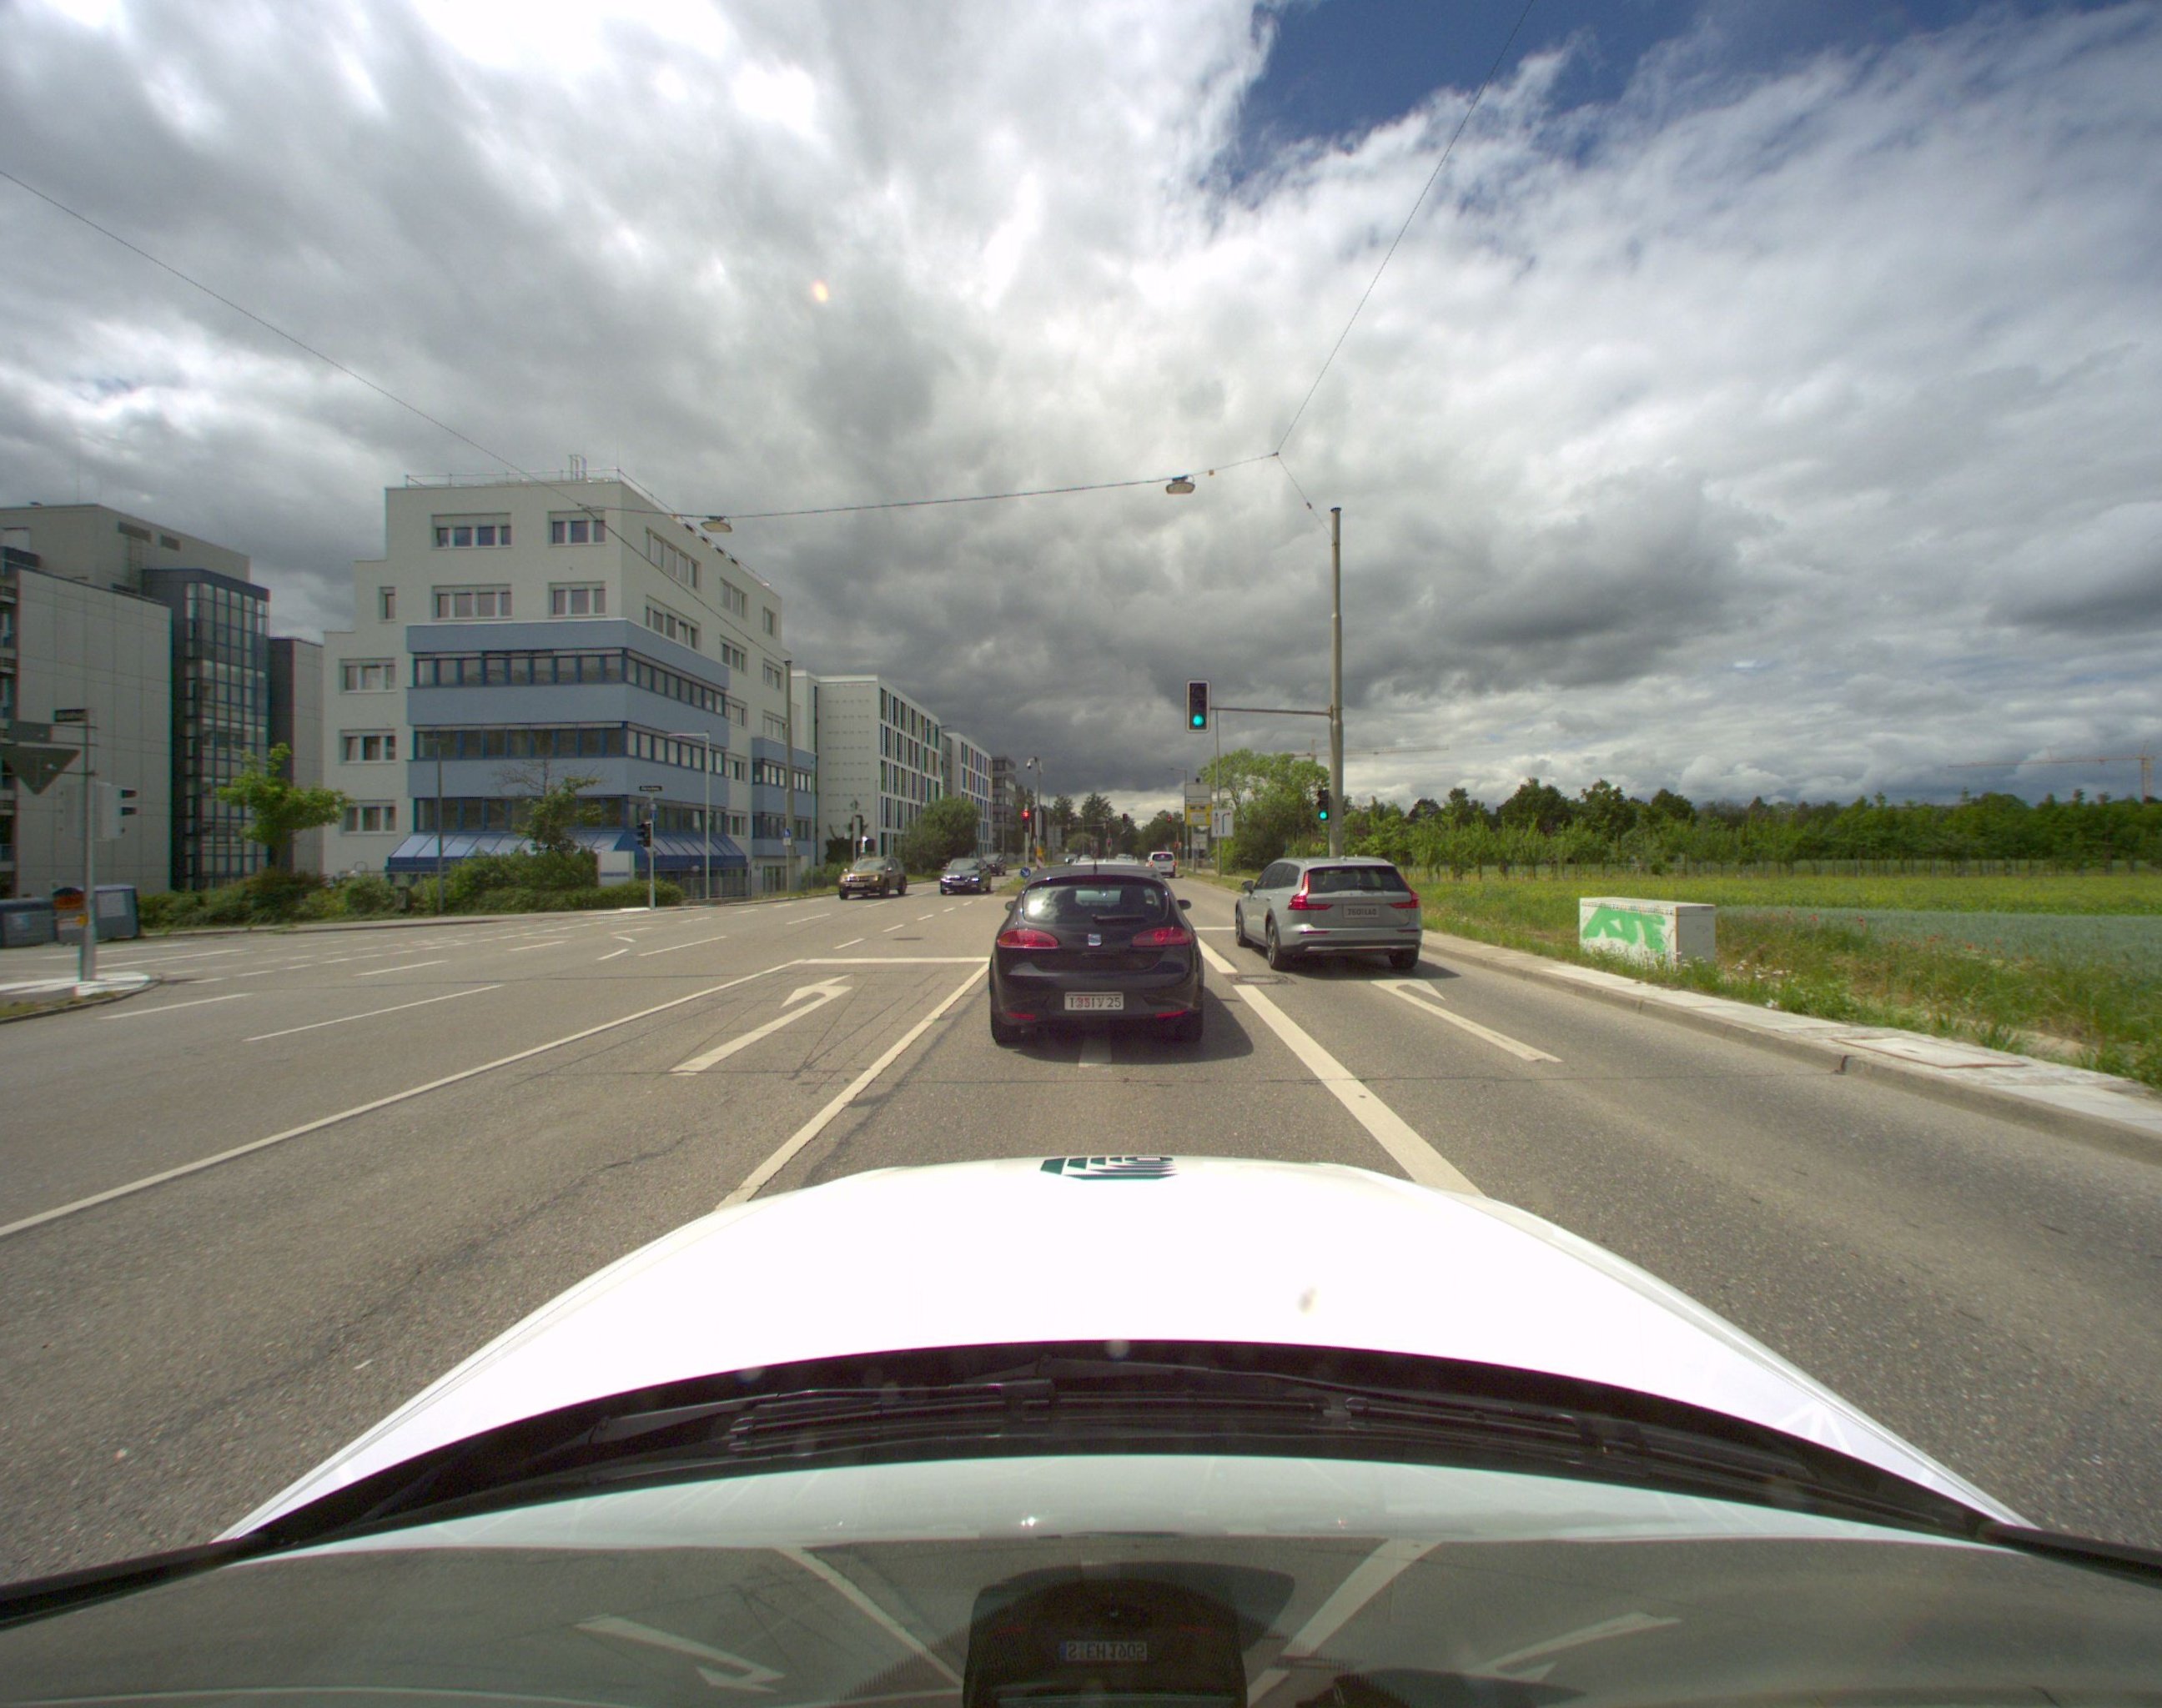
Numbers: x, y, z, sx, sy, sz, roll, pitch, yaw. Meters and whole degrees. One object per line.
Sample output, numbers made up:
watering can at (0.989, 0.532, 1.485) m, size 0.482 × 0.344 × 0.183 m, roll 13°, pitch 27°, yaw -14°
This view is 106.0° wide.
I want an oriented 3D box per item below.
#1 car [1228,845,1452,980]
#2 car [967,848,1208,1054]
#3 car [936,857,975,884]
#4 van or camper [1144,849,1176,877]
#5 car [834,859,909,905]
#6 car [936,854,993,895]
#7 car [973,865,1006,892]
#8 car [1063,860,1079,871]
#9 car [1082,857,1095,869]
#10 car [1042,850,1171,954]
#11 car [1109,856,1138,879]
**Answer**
car at (3.472, 0.723, 11.874) m, size 1.951 × 1.525 × 4.341 m, roll -2°, pitch -1°, yaw 2°
car at (0.221, 0.737, 7.963) m, size 1.739 × 1.484 × 4.006 m, roll -1°, pitch -1°, yaw 5°
car at (-8.045, 1.043, 52.642) m, size 1.769 × 1.612 × 4.001 m, roll -1°, pitch -1°, yaw 1°
van or camper at (5.690, 0.681, 59.019) m, size 1.893 × 1.926 × 3.998 m, roll -1°, pitch -1°, yaw -1°
car at (-8.203, 1.054, 32.233) m, size 1.744 × 1.631 × 4.001 m, roll -3°, pitch 0°, yaw 2°
car at (-4.809, 0.790, 34.036) m, size 1.662 × 1.524 × 4.010 m, roll 0°, pitch 1°, yaw 2°
car at (-6.987, 1.837, 62.538) m, size 1.987 × 2.014 × 4.479 m, roll -1°, pitch -1°, yaw -1°
car at (-1.395, 1.628, 112.701) m, size 1.986 × 1.409 × 4.001 m, roll -1°, pitch -1°, yaw 2°
car at (1.279, 1.460, 133.325) m, size 1.986 × 2.014 × 4.001 m, roll -1°, pitch -1°, yaw 2°
car at (0.379, 0.759, 14.689) m, size 1.977 × 1.590 × 4.224 m, roll 0°, pitch -1°, yaw -1°
car at (2.934, 0.926, 55.627) m, size 1.838 × 1.461 × 4.059 m, roll -1°, pitch -1°, yaw 3°
